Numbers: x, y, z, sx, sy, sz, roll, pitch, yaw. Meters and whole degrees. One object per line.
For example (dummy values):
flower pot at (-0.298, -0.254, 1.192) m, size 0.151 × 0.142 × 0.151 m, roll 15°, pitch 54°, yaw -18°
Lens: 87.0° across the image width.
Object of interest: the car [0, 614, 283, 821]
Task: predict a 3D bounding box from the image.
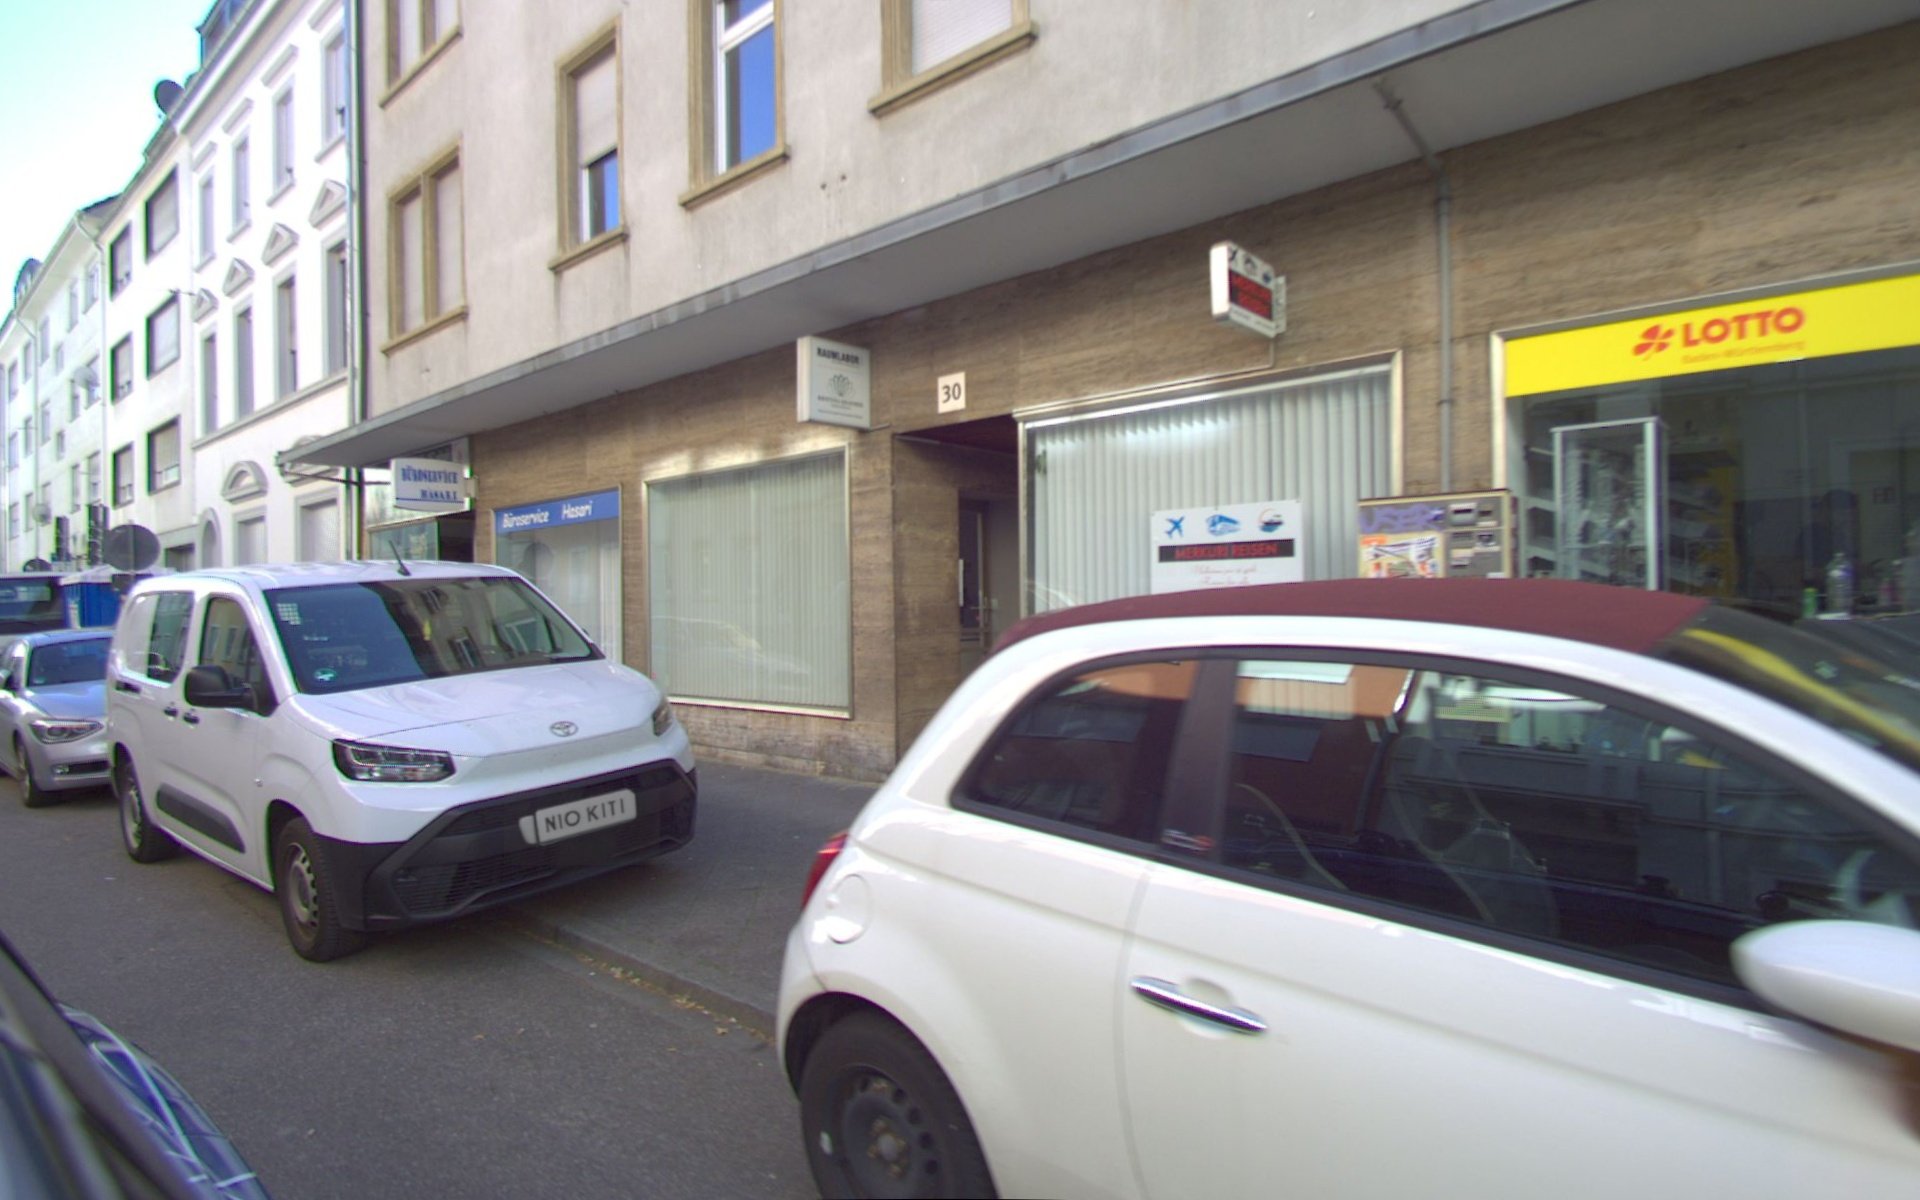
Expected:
car at (-8.144, 0.955, 9.626) m, size 4.485 × 1.535 × 1.647 m, roll -2°, pitch -3°, yaw 40°

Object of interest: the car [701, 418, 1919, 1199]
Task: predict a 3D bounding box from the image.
car at (1.265, 0.600, 1.958) m, size 3.721 × 1.572 × 1.650 m, roll -1°, pitch -1°, yaw 42°

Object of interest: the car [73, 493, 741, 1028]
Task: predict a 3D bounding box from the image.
car at (-3.480, 0.646, 5.861) m, size 4.805 × 1.913 × 1.749 m, roll -2°, pitch -3°, yaw 40°

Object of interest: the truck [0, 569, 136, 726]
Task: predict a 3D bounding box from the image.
truck at (-16.521, 0.730, 17.323) m, size 6.335 × 2.326 × 2.145 m, roll 0°, pitch -2°, yaw 36°

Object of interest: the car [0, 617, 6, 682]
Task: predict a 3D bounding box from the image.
car at (-28.495, 1.341, 28.435) m, size 4.172 × 1.783 × 1.738 m, roll 0°, pitch -2°, yaw 37°

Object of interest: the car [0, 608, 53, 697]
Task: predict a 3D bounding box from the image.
car at (-22.579, 1.156, 22.979) m, size 5.176 × 1.896 × 1.895 m, roll -1°, pitch -3°, yaw 37°

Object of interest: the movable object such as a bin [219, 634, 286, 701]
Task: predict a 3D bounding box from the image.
movable object such as a bin at (-12.086, 1.132, 17.291) m, size 0.695 × 1.080 × 0.778 m, roll 0°, pitch 0°, yaw 37°
